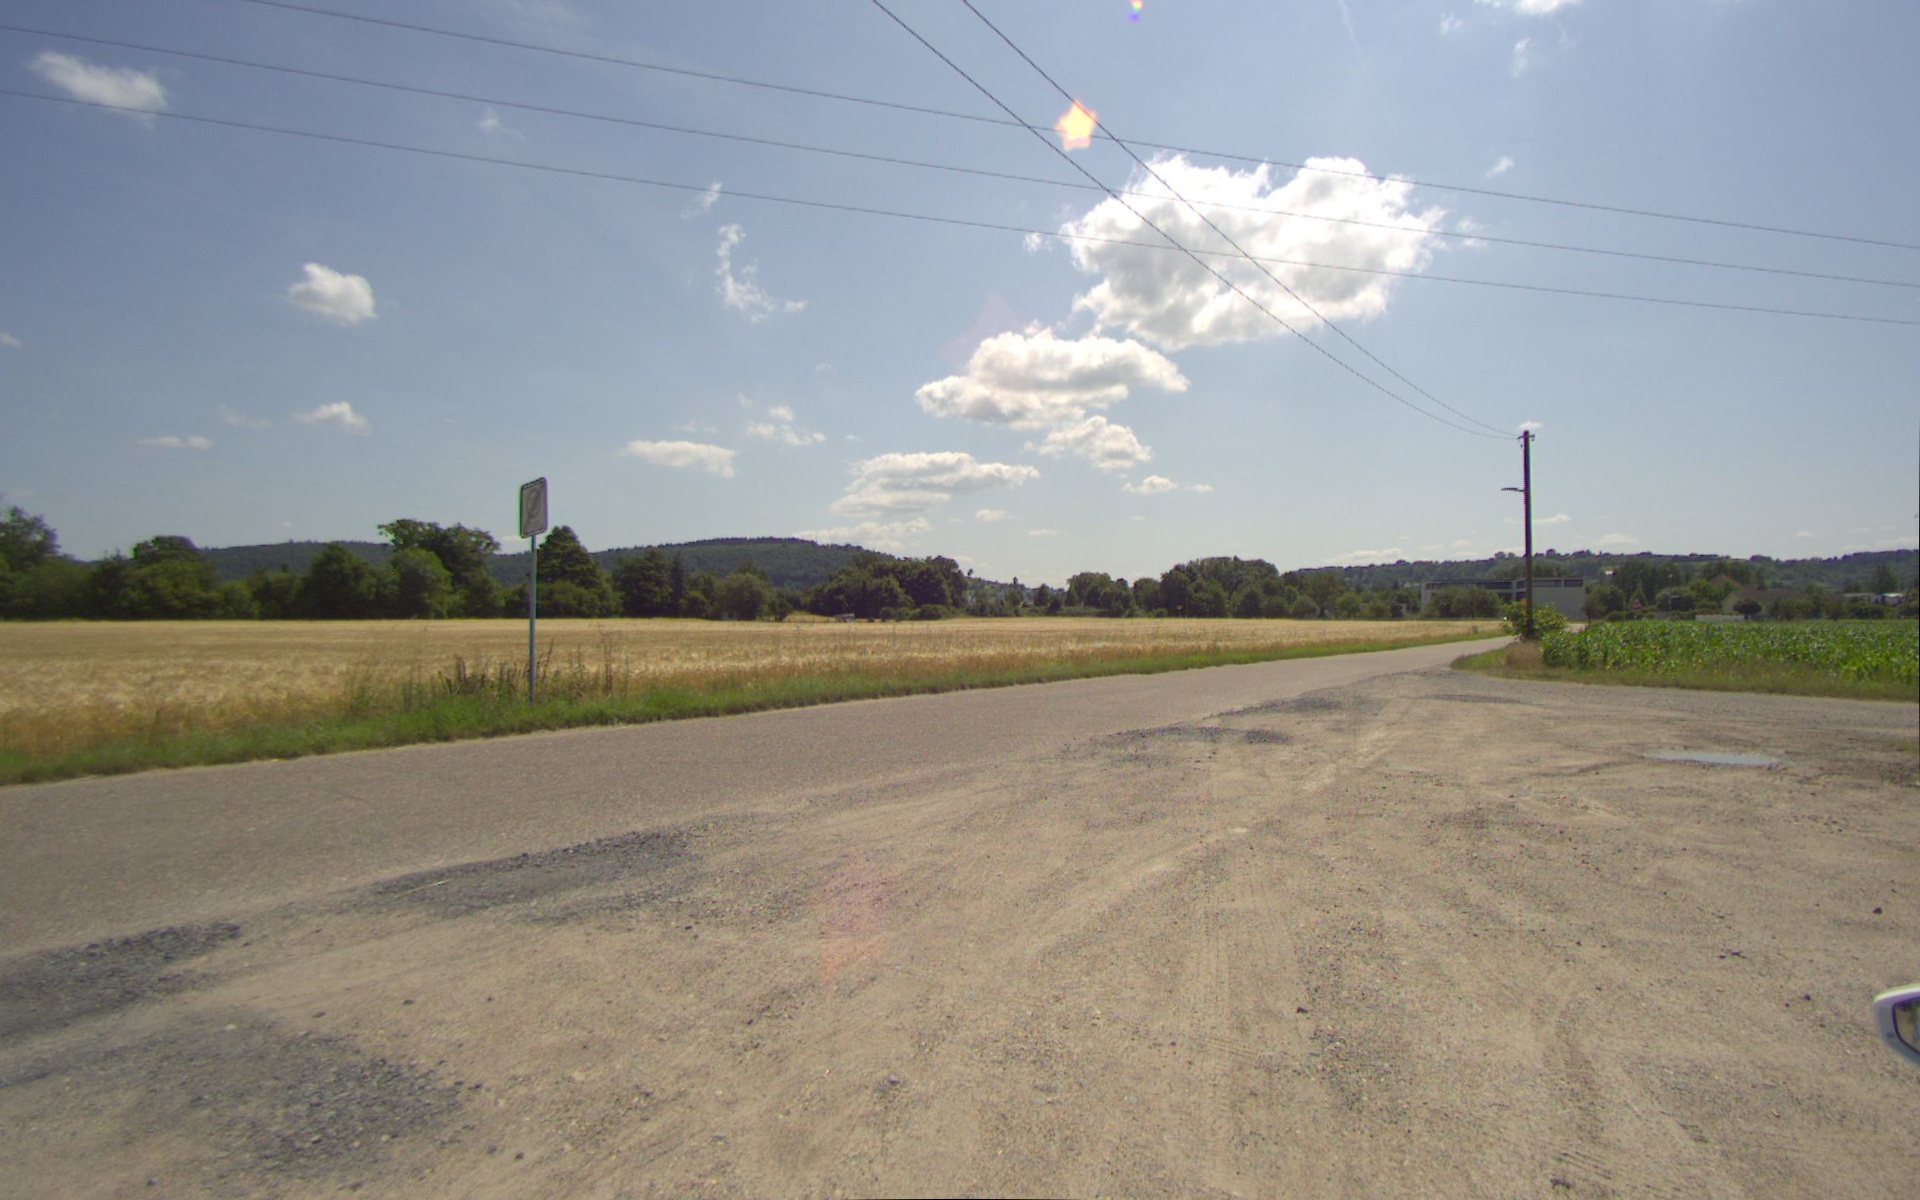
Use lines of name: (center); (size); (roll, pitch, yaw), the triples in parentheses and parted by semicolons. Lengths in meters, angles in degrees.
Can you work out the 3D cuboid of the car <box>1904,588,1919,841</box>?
car: (6.424, 0.713, 4.490); (1.829, 1.683, 4.456); (1, -1, 24)
